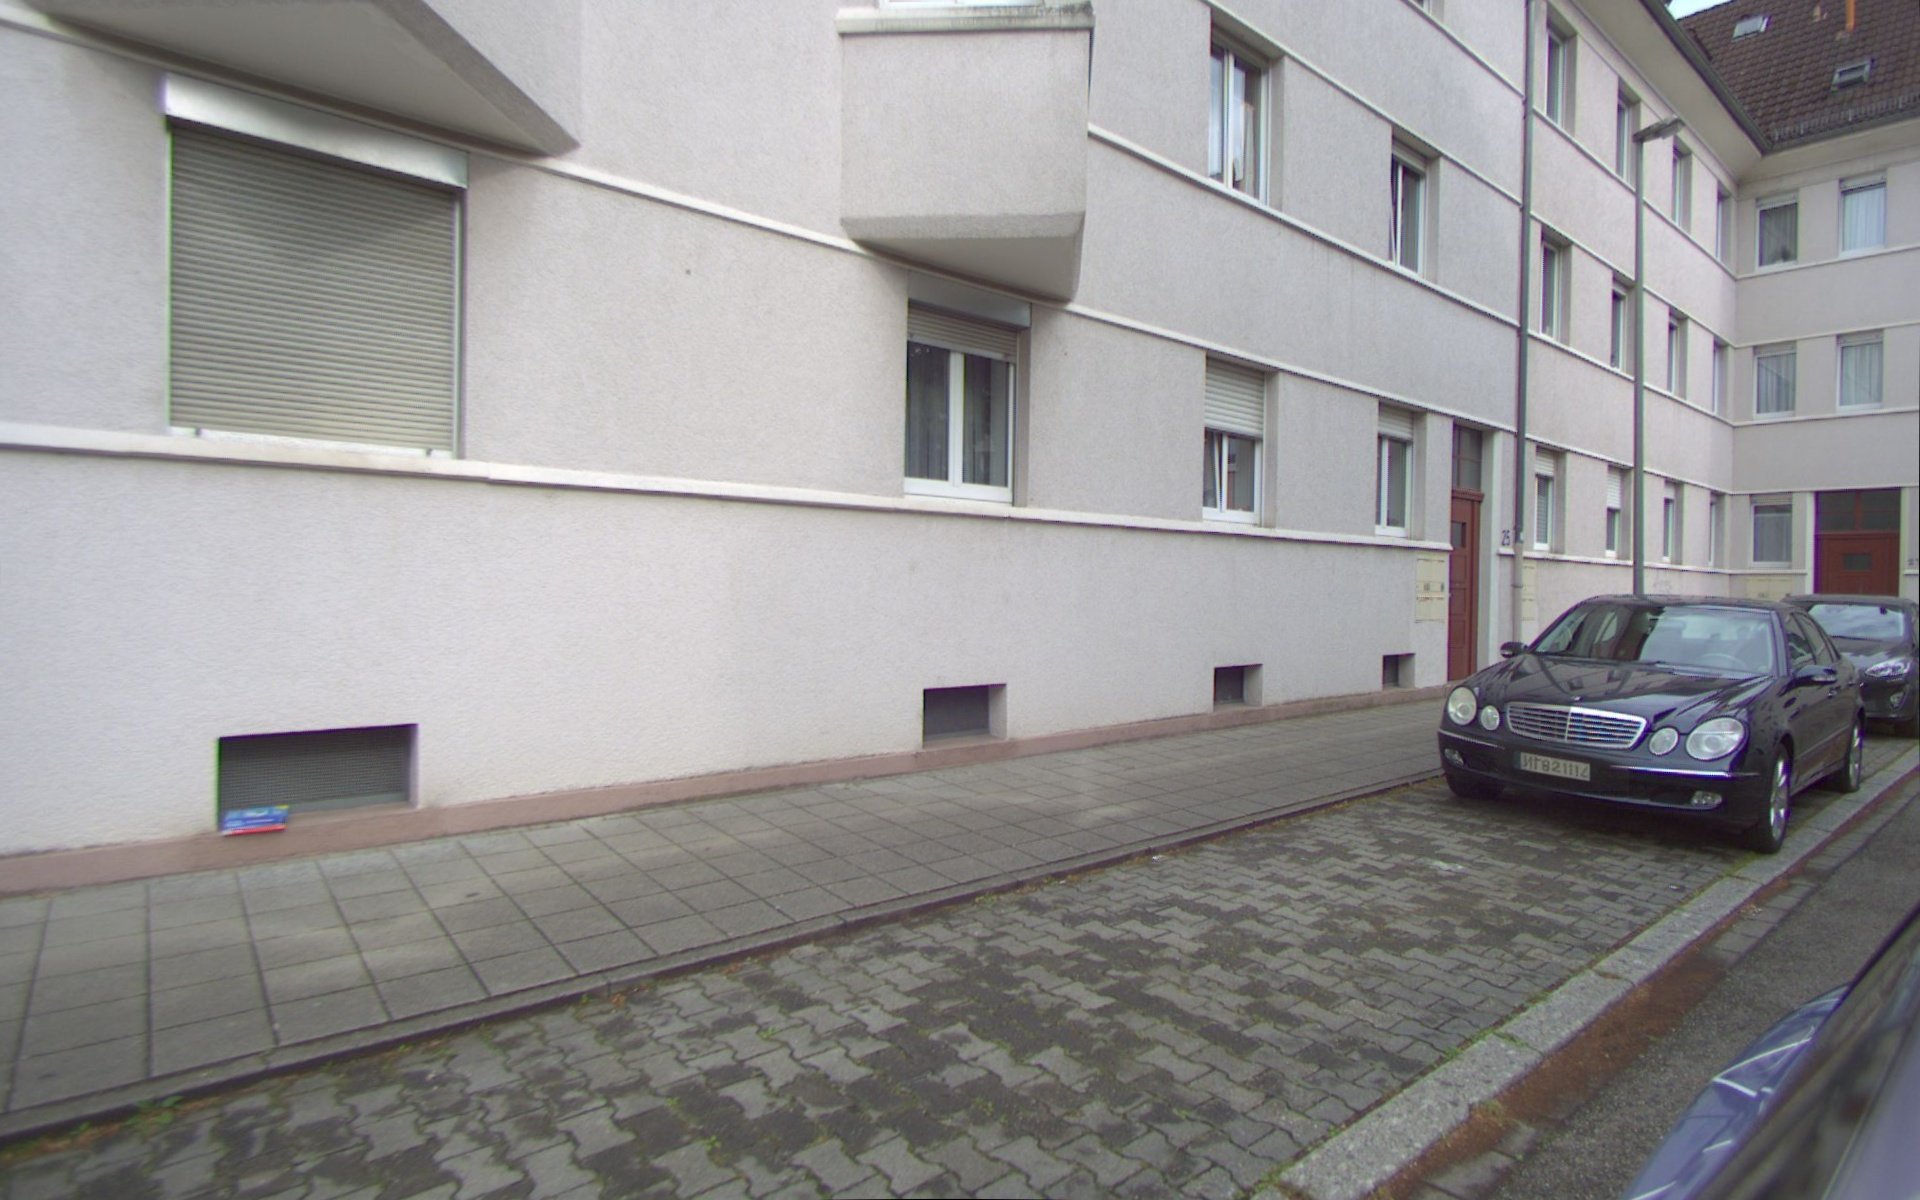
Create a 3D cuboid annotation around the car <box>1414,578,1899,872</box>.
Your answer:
[{"bbox_3d":[5.276,0.629,7.341,4.863,1.438,1.748,1,2,-41],"label":"car"}]

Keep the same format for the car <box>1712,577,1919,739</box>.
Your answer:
[{"bbox_3d":[10.343,0.535,11.755,4.008,1.544,1.760,-1,2,-41],"label":"car"}]
